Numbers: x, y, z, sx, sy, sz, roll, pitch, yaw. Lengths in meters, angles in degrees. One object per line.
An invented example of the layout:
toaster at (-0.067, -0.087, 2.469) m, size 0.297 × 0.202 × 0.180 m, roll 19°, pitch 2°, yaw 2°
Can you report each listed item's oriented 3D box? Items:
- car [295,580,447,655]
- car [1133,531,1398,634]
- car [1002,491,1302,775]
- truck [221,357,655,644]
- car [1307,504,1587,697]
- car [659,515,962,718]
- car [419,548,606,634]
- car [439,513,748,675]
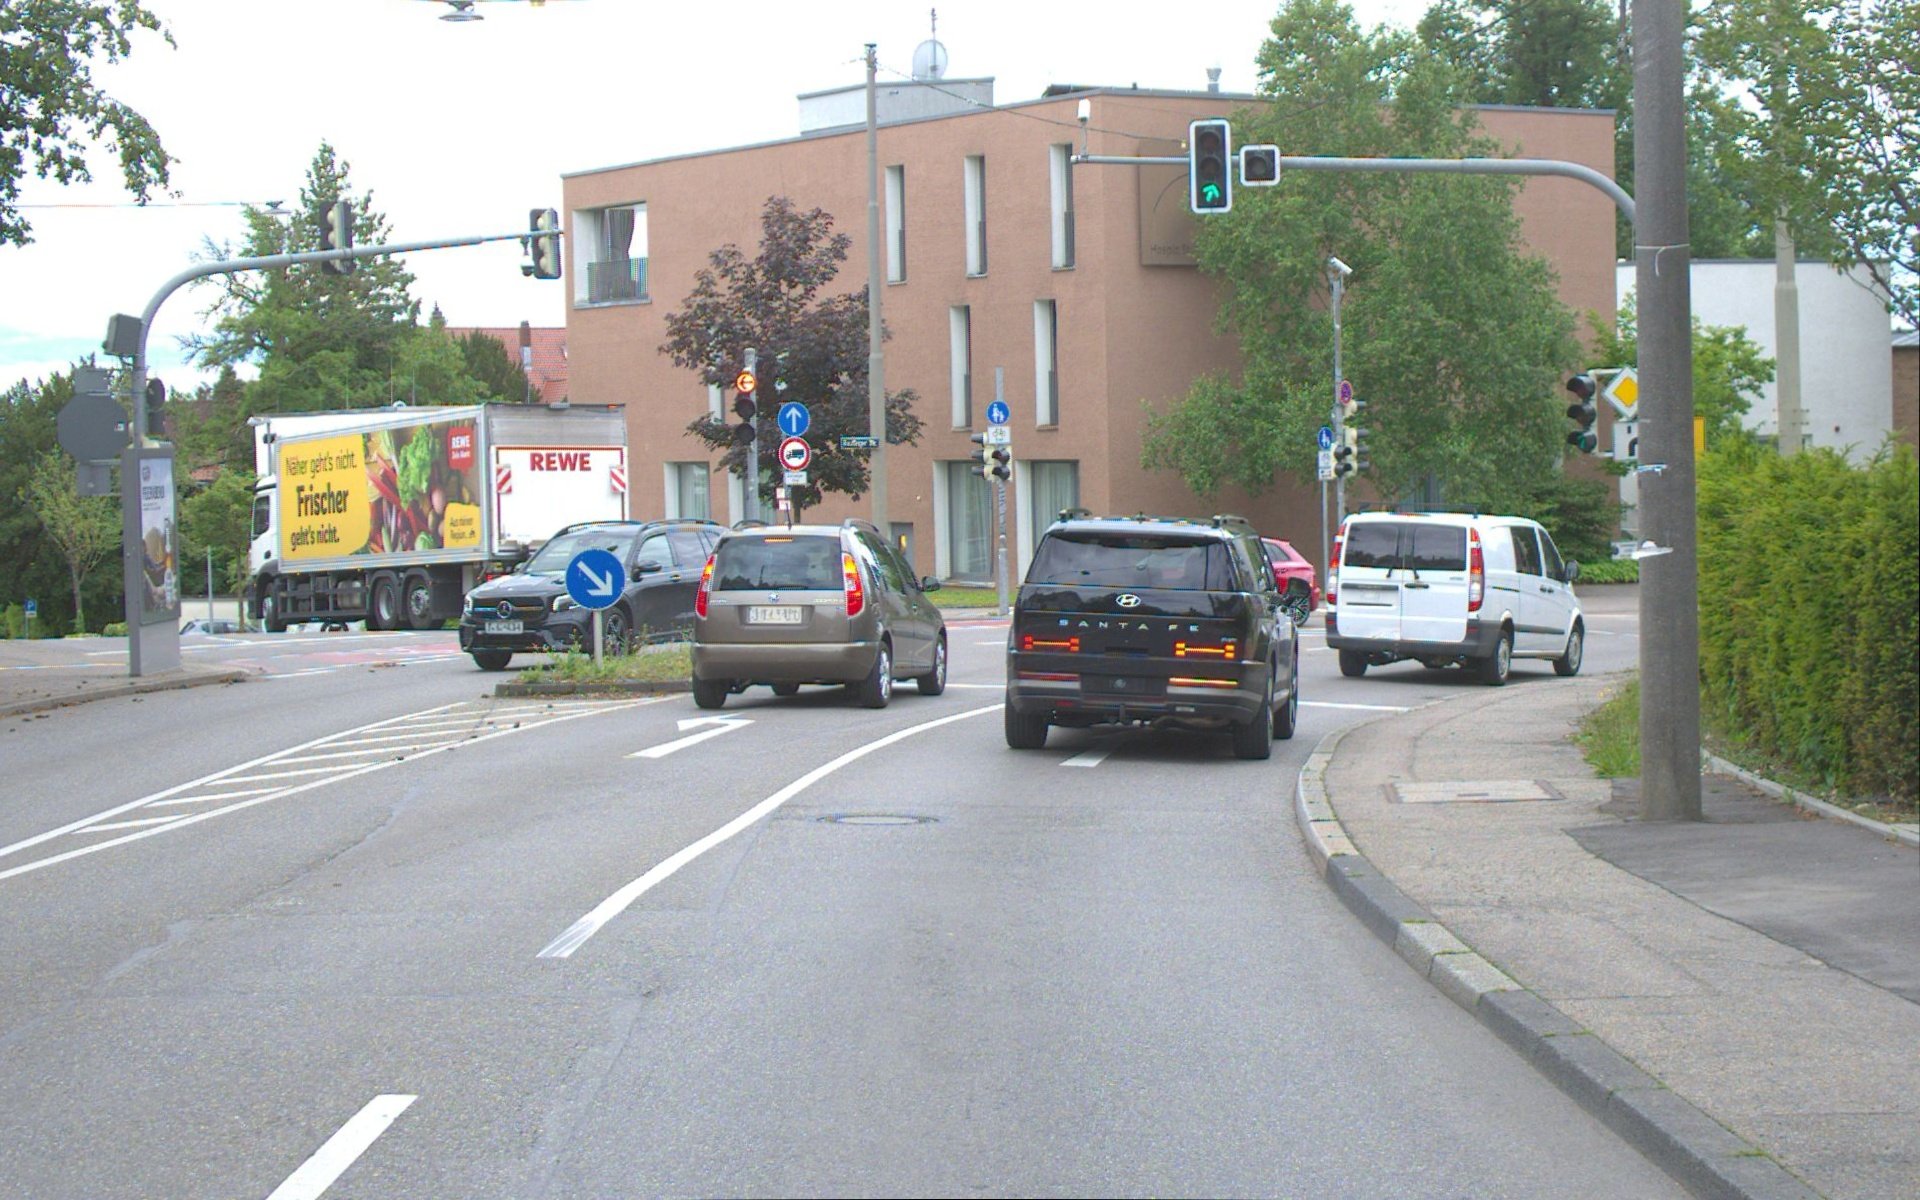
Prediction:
car at (-16.694, 0.473, 97.365) m, size 3.986 × 2.007 × 2.001 m, roll -1°, pitch 1°, yaw -17°
car at (4.856, -0.307, 54.293) m, size 1.998 × 1.559 × 4.208 m, roll 0°, pitch 1°, yaw 43°
car at (1.433, 0.194, 25.614) m, size 1.994 × 1.875 × 4.000 m, roll 2°, pitch 1°, yaw 3°
truck at (-9.721, -1.744, 62.350) m, size 3.125 × 4.718 × 11.794 m, roll -1°, pitch 1°, yaw -33°
car at (5.658, -0.058, 39.469) m, size 1.964 × 2.006 × 4.423 m, roll 3°, pitch 3°, yaw 24°
car at (-1.275, 0.113, 31.116) m, size 1.894 × 1.700 × 3.998 m, roll -1°, pitch 1°, yaw 10°
car at (-10.794, -0.230, 82.955) m, size 3.987 × 2.007 × 2.000 m, roll -1°, pitch 1°, yaw -29°
car at (-4.274, -0.052, 40.899) m, size 1.995 × 1.791 × 4.516 m, roll -1°, pitch -1°, yaw 17°
